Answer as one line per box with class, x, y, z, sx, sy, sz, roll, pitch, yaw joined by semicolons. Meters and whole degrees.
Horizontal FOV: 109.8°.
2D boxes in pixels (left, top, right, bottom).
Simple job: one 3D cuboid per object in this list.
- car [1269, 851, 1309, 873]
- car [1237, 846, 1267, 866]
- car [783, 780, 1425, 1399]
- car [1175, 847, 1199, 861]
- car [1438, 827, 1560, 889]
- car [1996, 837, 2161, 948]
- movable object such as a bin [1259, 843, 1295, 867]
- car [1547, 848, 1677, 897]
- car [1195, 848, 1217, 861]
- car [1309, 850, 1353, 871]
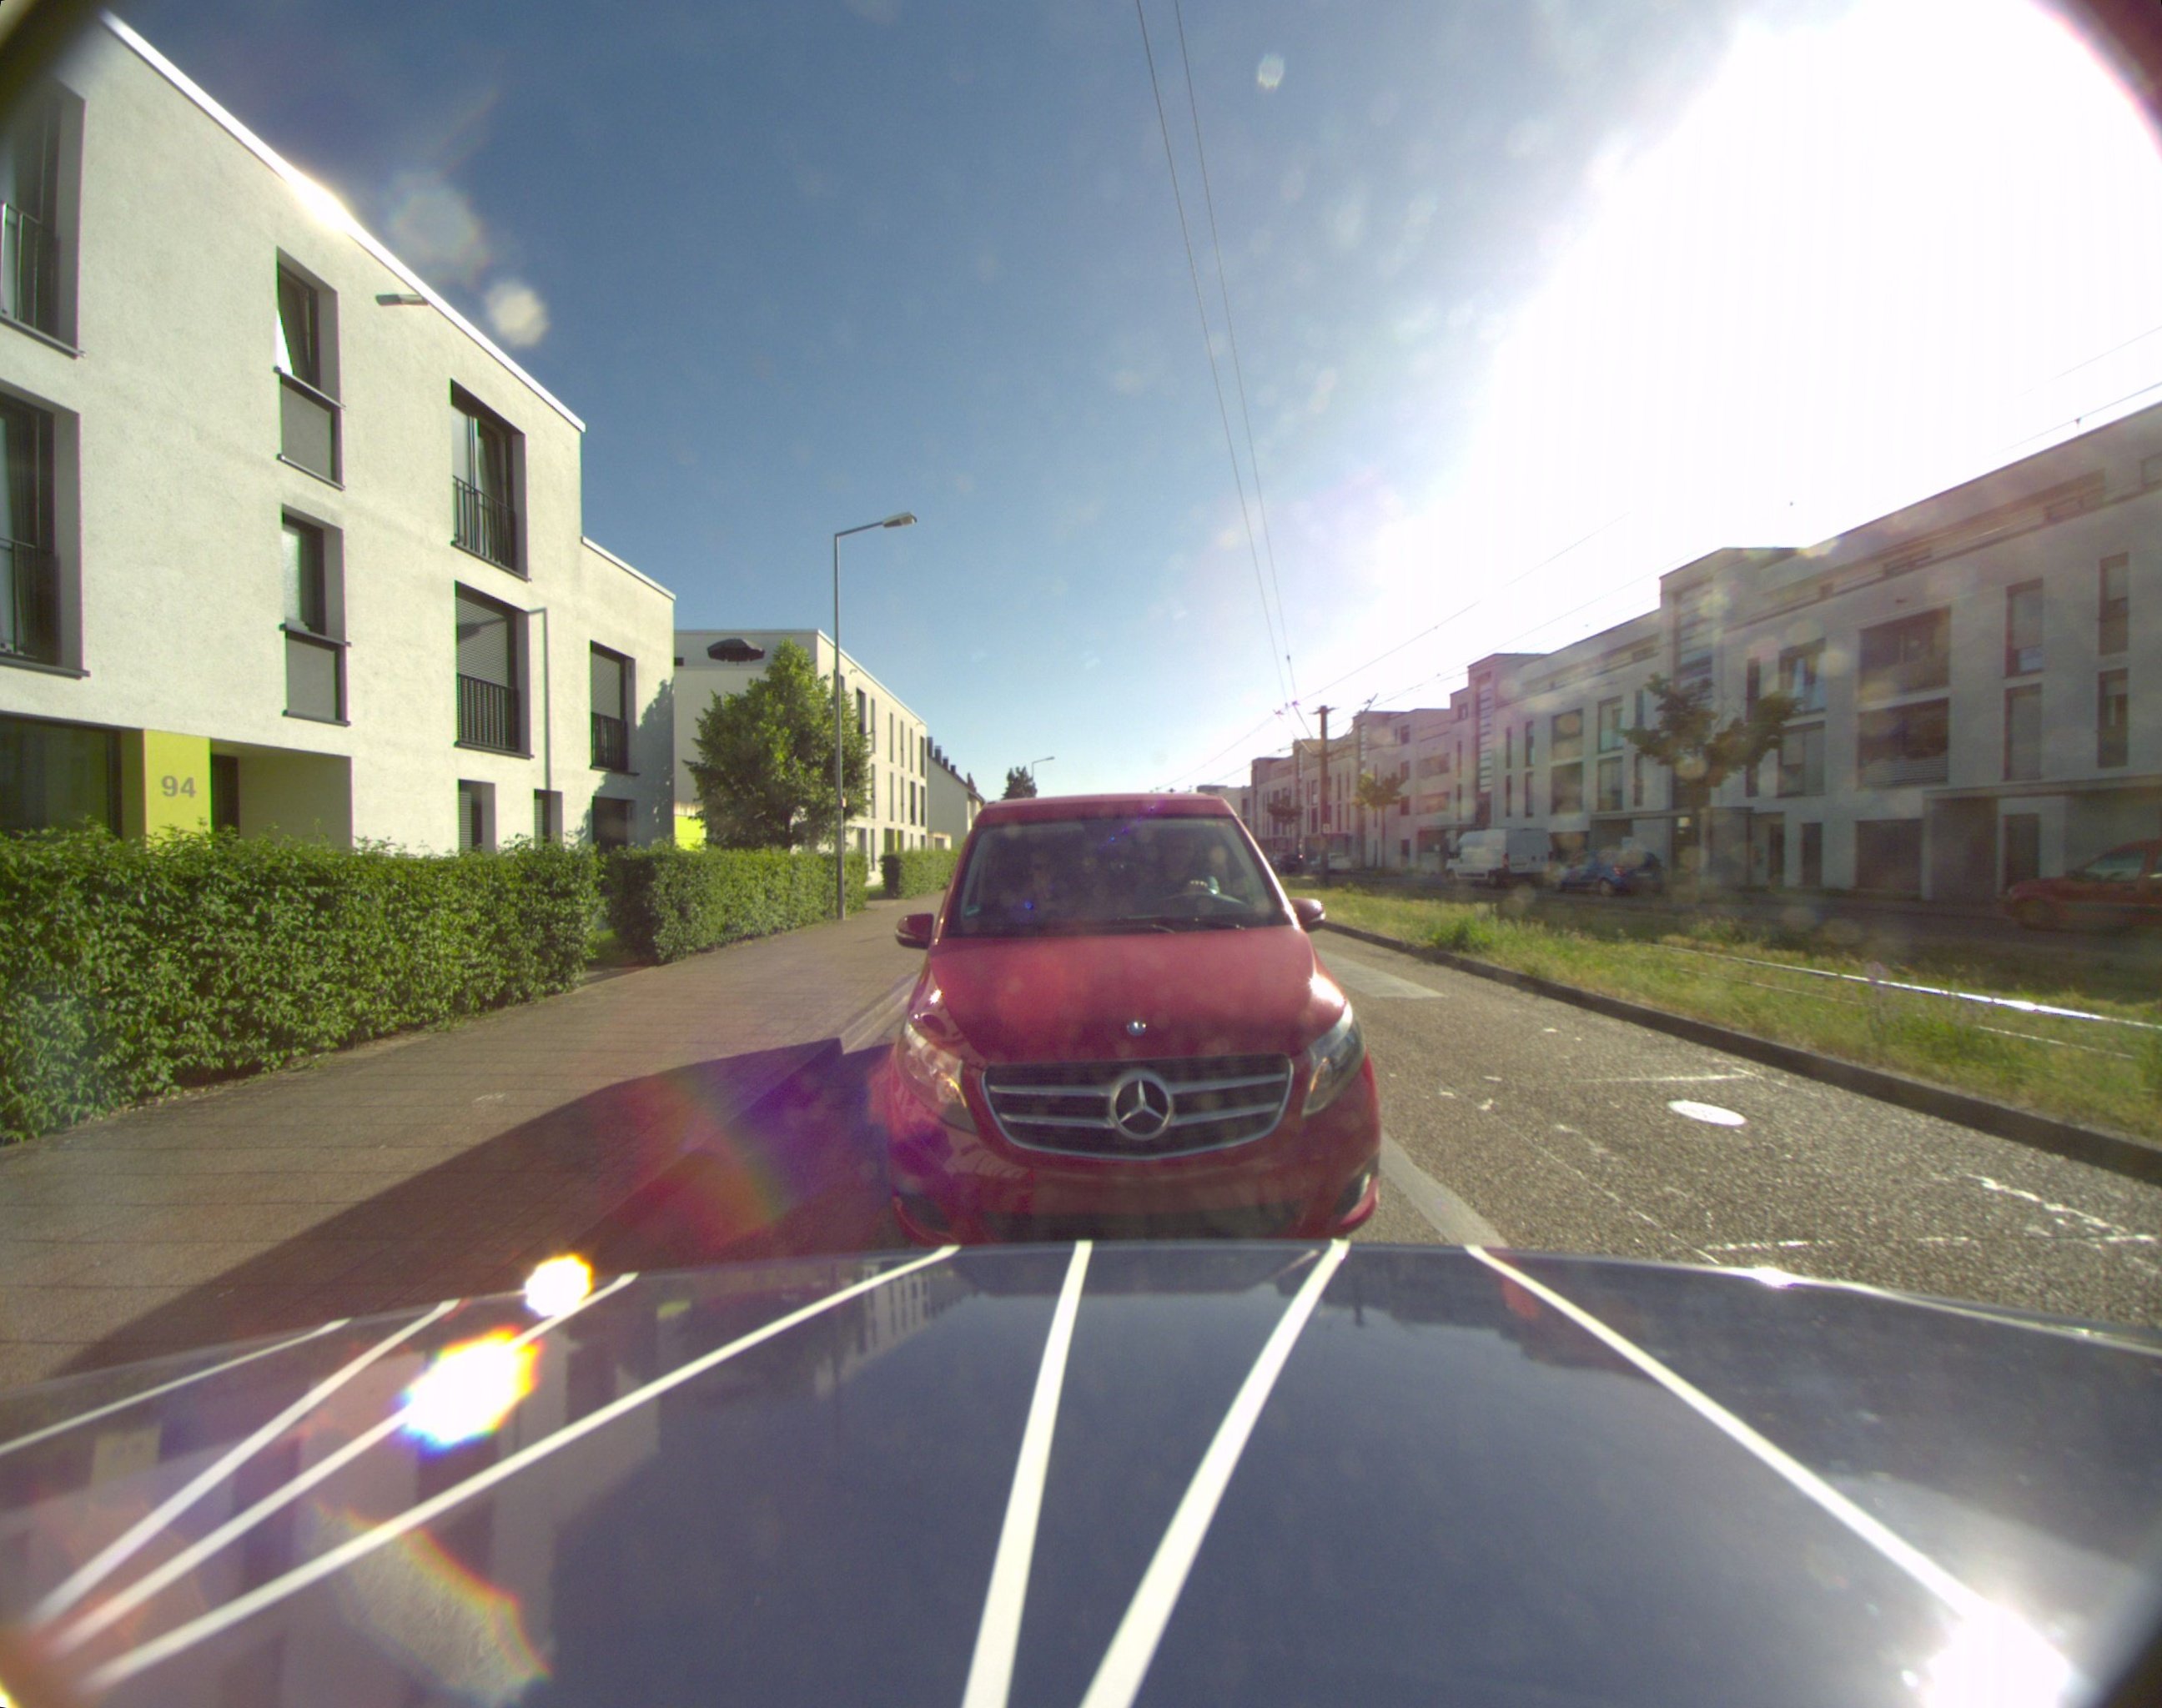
car;14.382;0.549;52.727;1.792;1.410;4.000;1;0;1
car;16.665;0.196;74.239;1.766;1.859;4.155;-2;0;-4
car;0.133;0.755;5.032;1.979;1.922;5.205;-2;0;1
car;12.624;-0.049;90.832;1.999;1.586;4.645;2;0;-2
car;18.149;0.135;33.384;2.146;2.430;5.588;-2;0;-1
car;18.603;0.617;12.761;1.885;1.785;3.837;-2;0;1
movable object such as a bin;17.000;0.078;65.977;1.766;1.926;4.155;-2;0;-4
car;18.271;0.591;26.379;1.829;1.528;3.842;-2;0;0
car;15.422;0.034;93.931;1.766;1.590;4.155;-2;0;-4
car;17.640;0.446;53.792;1.521;1.424;4.155;-2;0;-4
